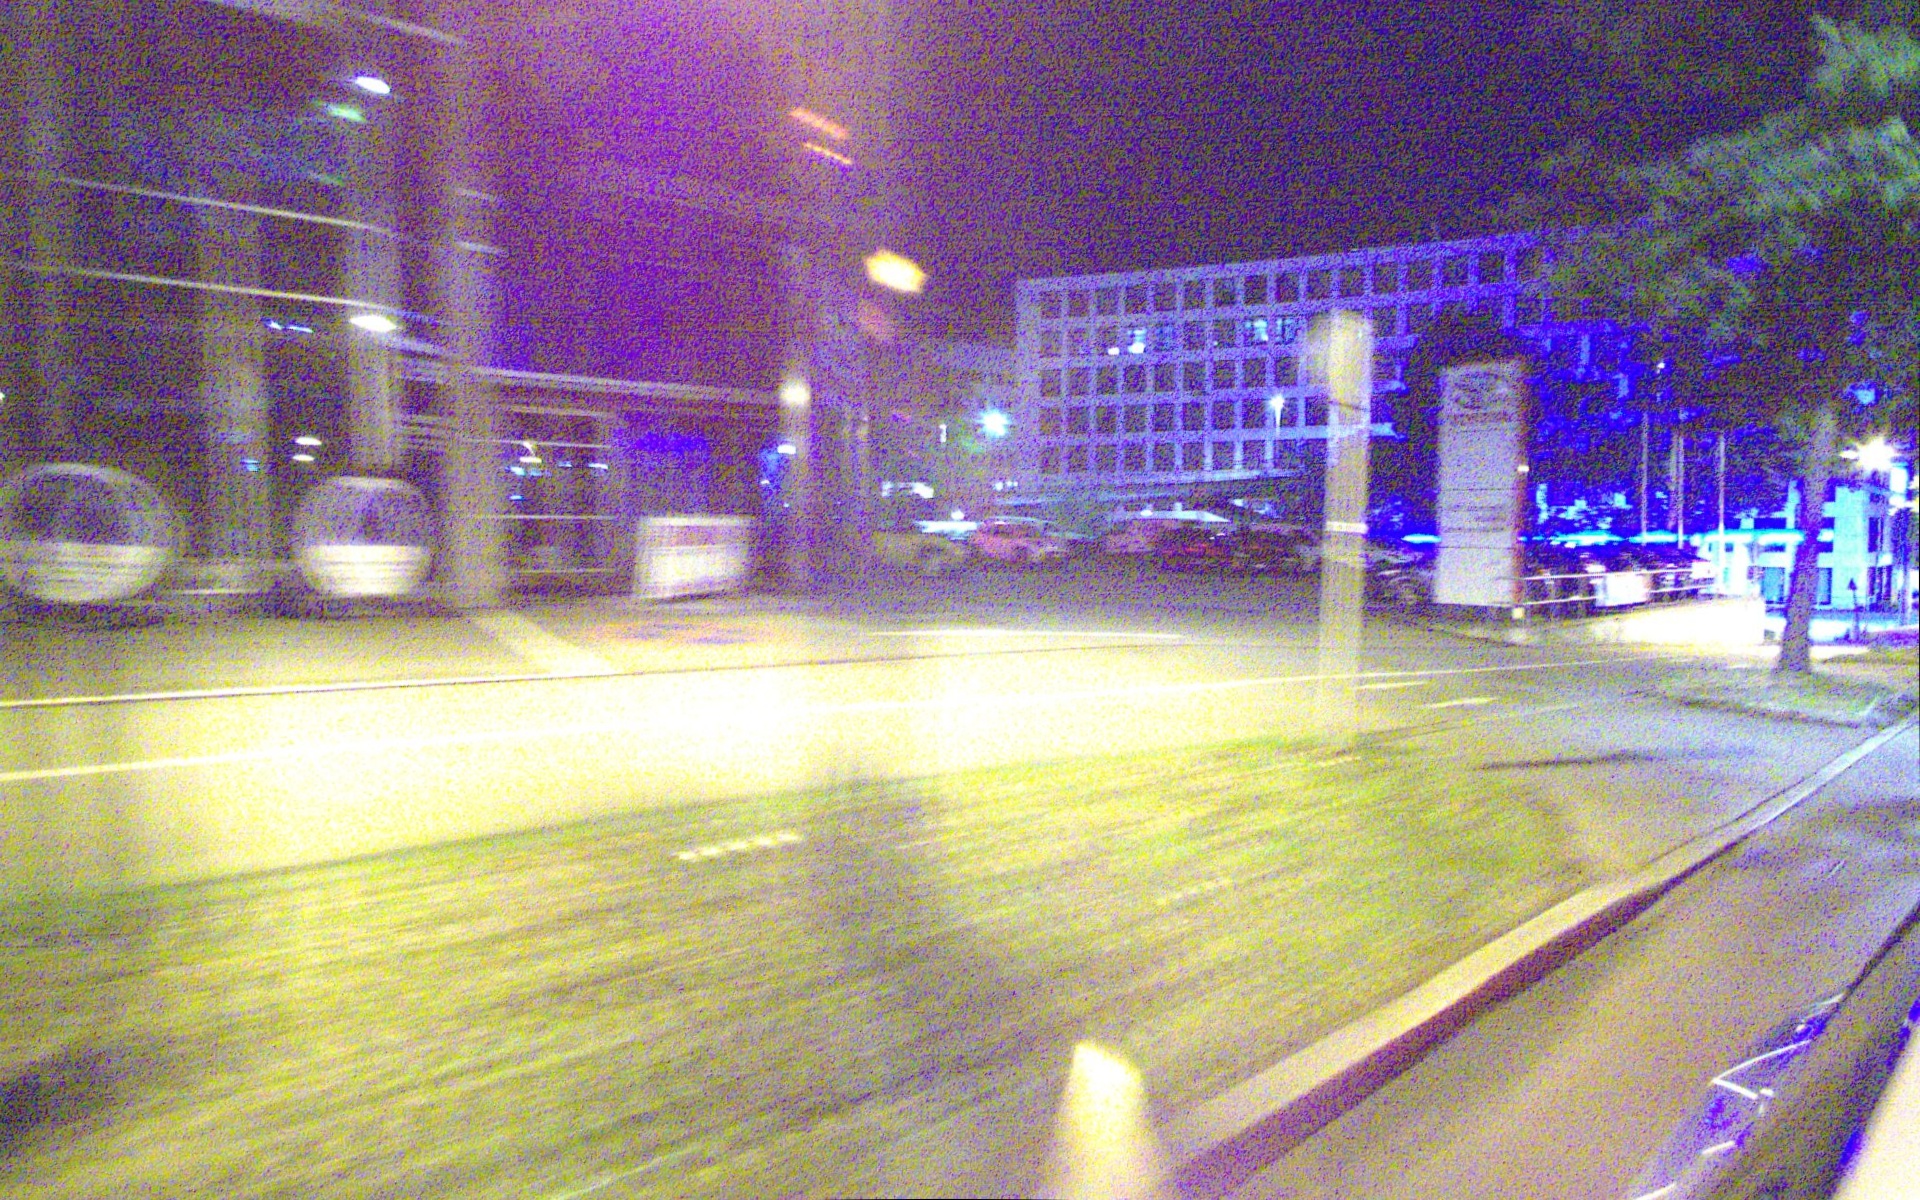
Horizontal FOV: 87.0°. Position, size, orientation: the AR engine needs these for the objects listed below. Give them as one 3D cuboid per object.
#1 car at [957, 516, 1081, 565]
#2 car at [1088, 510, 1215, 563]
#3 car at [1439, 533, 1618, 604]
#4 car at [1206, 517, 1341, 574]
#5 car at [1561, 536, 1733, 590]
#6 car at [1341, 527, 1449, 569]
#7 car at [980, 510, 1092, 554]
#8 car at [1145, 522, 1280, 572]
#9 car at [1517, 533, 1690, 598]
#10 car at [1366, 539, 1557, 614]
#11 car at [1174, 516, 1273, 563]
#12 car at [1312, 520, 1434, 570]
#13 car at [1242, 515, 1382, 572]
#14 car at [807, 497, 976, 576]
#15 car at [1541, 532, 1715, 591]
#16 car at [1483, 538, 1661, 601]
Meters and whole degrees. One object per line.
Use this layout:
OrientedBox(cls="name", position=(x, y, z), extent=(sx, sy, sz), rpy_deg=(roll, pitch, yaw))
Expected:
OrientedBox(cls="car", position=(1.901, -2.000, 33.632), extent=(1.835, 1.508, 3.995), rpy_deg=(-2, 5, -41))
OrientedBox(cls="car", position=(7.438, -2.512, 39.676), extent=(1.967, 1.933, 4.583), rpy_deg=(-2, 5, -43))
OrientedBox(cls="car", position=(14.285, -0.851, 25.557), extent=(1.699, 1.588, 3.566), rpy_deg=(-2, 5, -44))
OrientedBox(cls="car", position=(10.535, -1.882, 34.213), extent=(1.787, 1.709, 3.999), rpy_deg=(-2, 6, -39))
OrientedBox(cls="car", position=(21.680, -1.240, 32.067), extent=(1.790, 1.540, 4.131), rpy_deg=(-3, 5, -38))
OrientedBox(cls="car", position=(17.695, -2.142, 41.298), extent=(1.607, 1.487, 3.655), rpy_deg=(-2, 7, -36))
OrientedBox(cls="car", position=(3.727, -3.293, 49.136), extent=(5.158, 1.994, 2.183), rpy_deg=(2, 3, 12))
OrientedBox(cls="car", position=(8.157, -1.762, 32.893), extent=(1.740, 1.449, 3.877), rpy_deg=(-3, 6, -44))
OrientedBox(cls="car", position=(18.217, -1.048, 28.770), extent=(1.750, 1.605, 3.756), rpy_deg=(-3, 7, -41))
OrientedBox(cls="car", position=(11.824, -0.607, 24.152), extent=(3.795, 1.507, 1.731), rpy_deg=(3, 6, 20))
OrientedBox(cls="car", position=(11.464, -2.686, 44.246), extent=(1.723, 1.917, 3.815), rpy_deg=(-2, 6, -43))
OrientedBox(cls="car", position=(16.046, -2.180, 39.465), extent=(1.803, 1.751, 4.002), rpy_deg=(-2, 6, -36))
OrientedBox(cls="car", position=(12.268, -2.028, 35.536), extent=(1.719, 1.745, 4.376), rpy_deg=(-2, 7, -37))
OrientedBox(cls="car", position=(-1.574, -1.524, 23.990), extent=(3.718, 1.544, 1.735), rpy_deg=(4, 5, 4))
OrientedBox(cls="car", position=(20.009, -1.214, 30.466), extent=(1.707, 1.589, 3.999), rpy_deg=(-2, 5, -38))
OrientedBox(cls="car", position=(16.417, -0.873, 27.259), extent=(1.713, 1.506, 3.732), rpy_deg=(-3, 5, -41))
